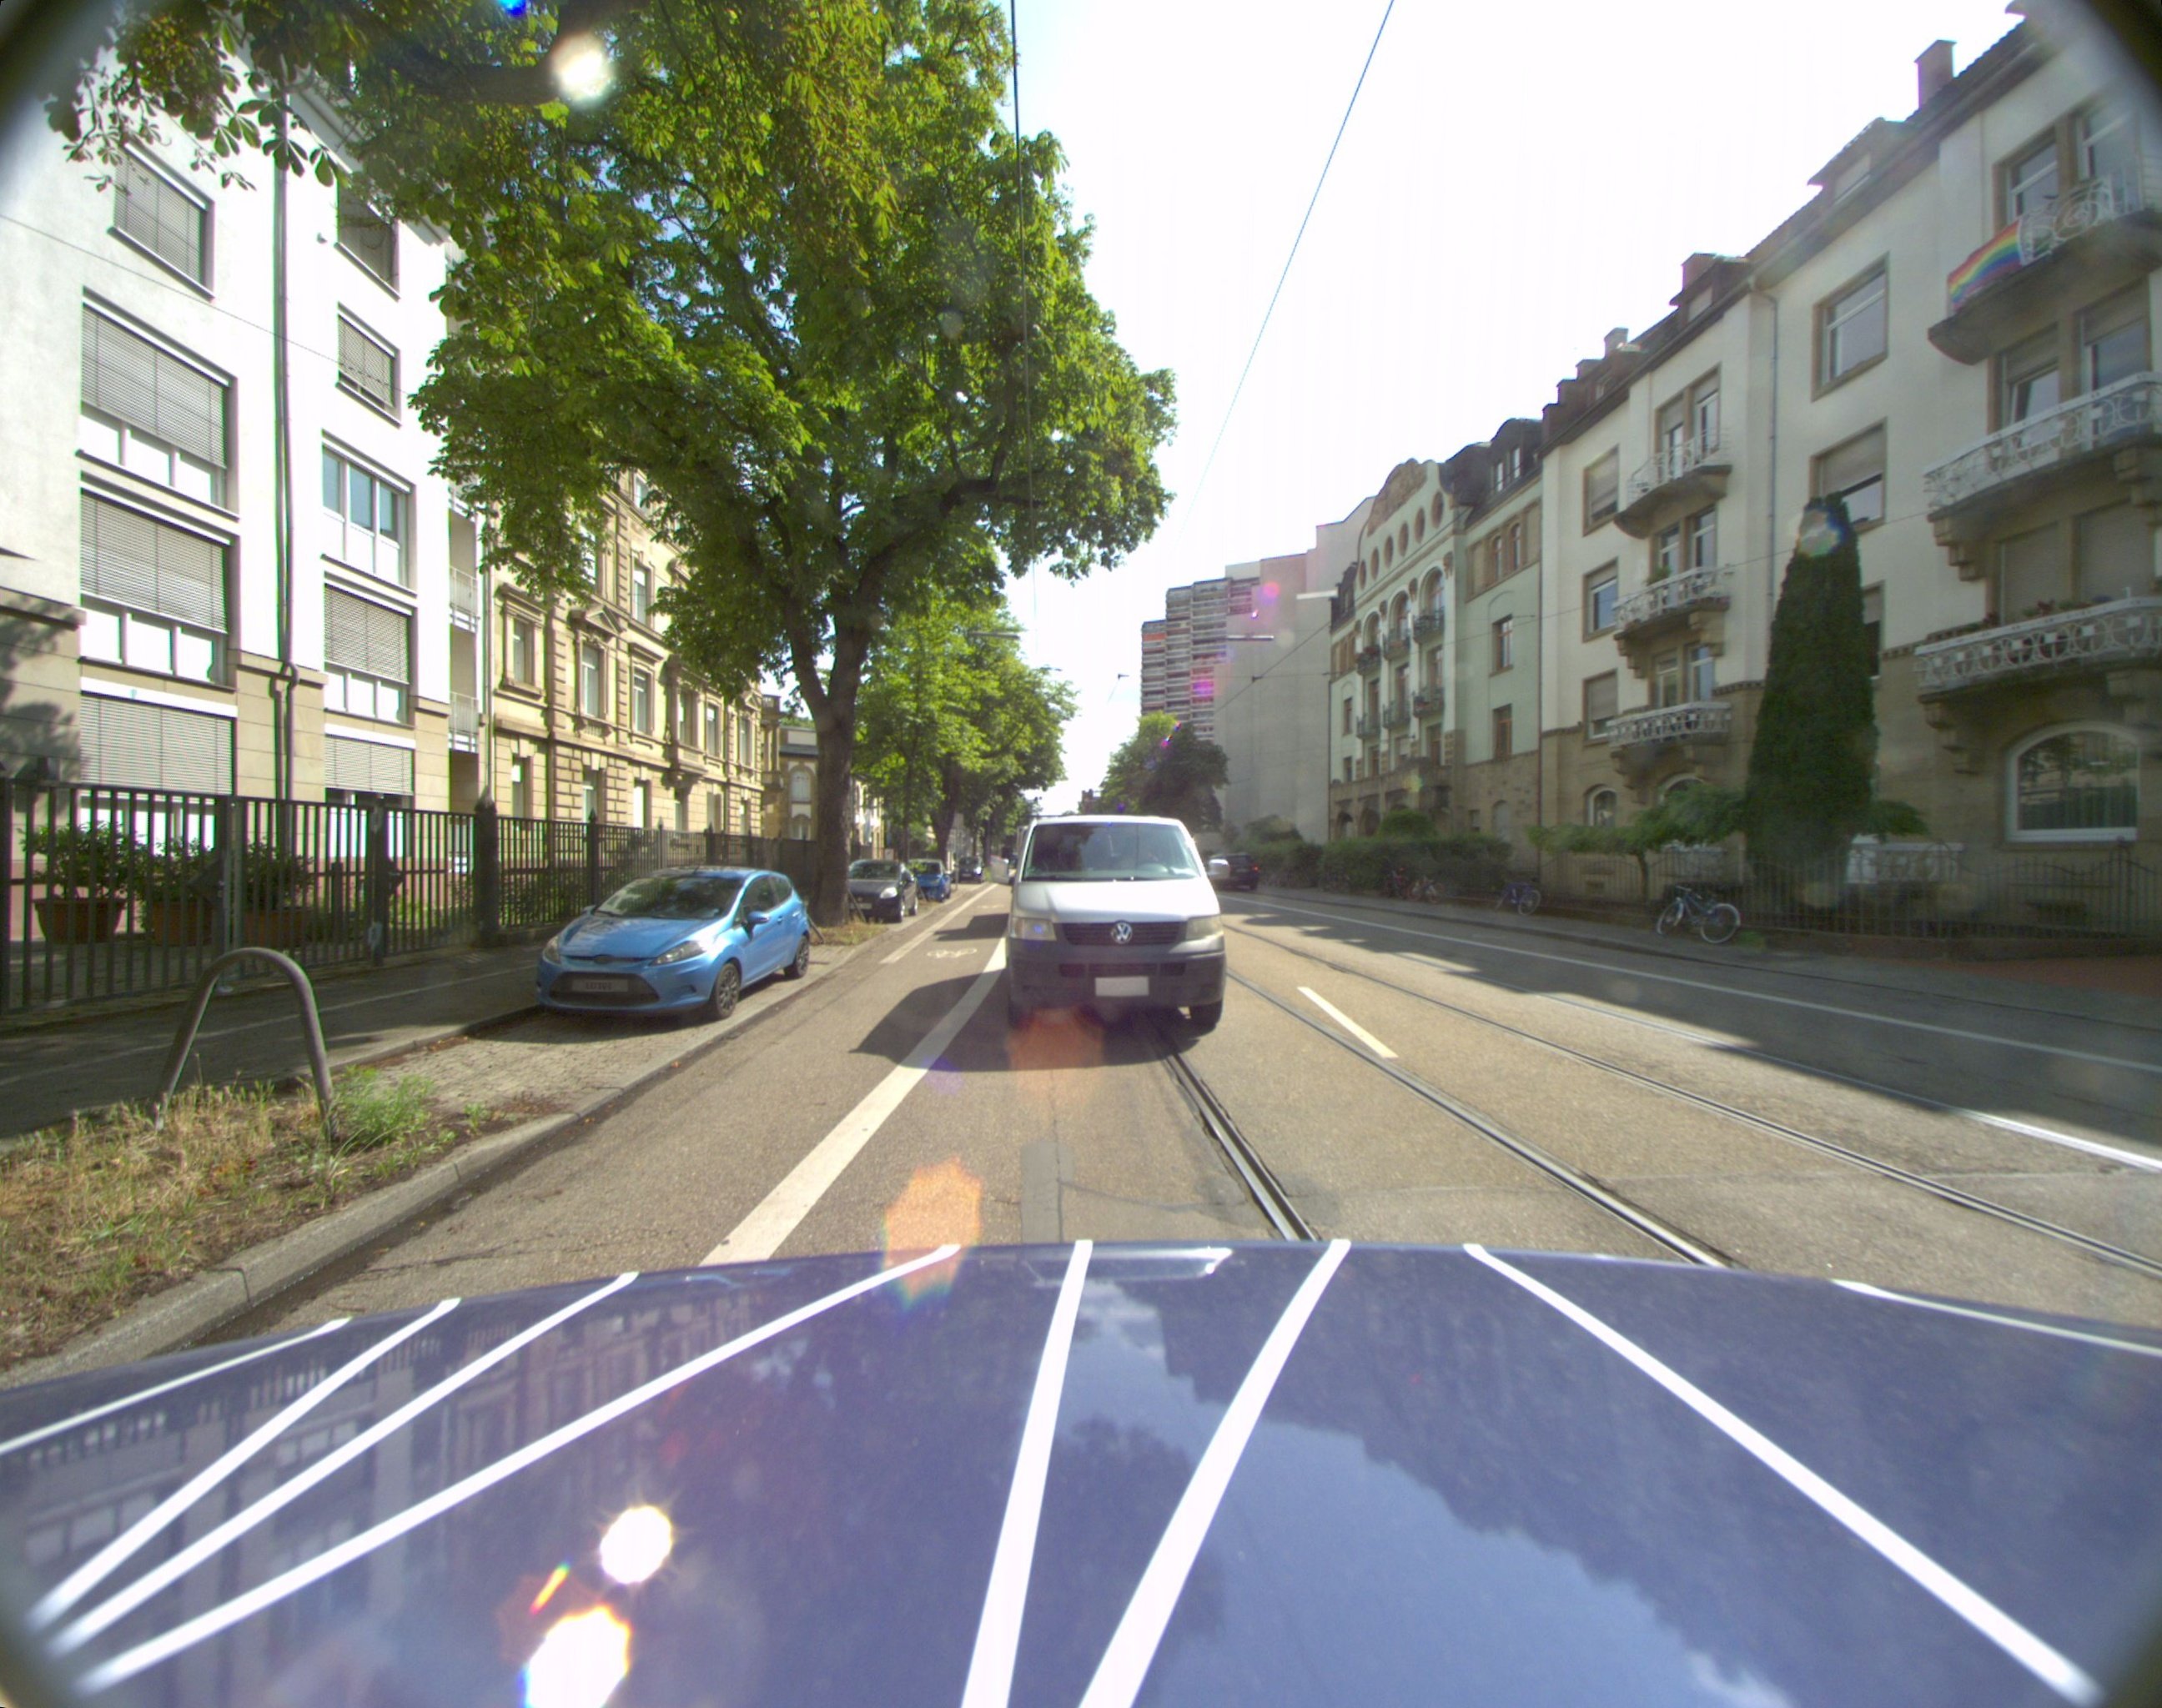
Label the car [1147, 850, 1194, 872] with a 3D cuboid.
[{"bbox_3d":[8.051,0.621,68.285,3.997,1.914,1.831,0,0,-1],"label":"car"}]

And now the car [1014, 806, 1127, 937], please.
[{"bbox_3d":[-0.450,0.331,17.793,2.169,2.572,5.660,0,0,-6],"label":"car"}]

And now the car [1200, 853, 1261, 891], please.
[{"bbox_3d":[7.007,0.787,36.052,1.796,1.701,4.330,0,0,-4],"label":"car"}]

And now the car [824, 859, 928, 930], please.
[{"bbox_3d":[-4.939,0.913,18.761,1.644,1.499,3.622,2,0,-2],"label":"car"}]

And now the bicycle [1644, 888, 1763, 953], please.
[{"bbox_3d":[11.052,1.146,13.591,0.524,0.901,2.067,0,2,4],"label":"bicycle"}]

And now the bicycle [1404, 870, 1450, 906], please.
[{"bbox_3d":[10.560,1.016,23.257,0.587,0.980,1.873,0,1,1],"label":"bicycle"}]

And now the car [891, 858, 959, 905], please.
[{"bbox_3d":[-5.427,0.913,26.874,1.724,1.443,3.925,2,0,-3],"label":"car"}]

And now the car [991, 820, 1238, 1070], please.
[{"bbox_3d":[0.273,0.674,8.124,1.831,1.856,4.845,-1,0,0],"label":"car"}]

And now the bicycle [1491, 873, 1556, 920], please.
[{"bbox_3d":[10.895,1.032,18.770,0.539,1.024,1.873,0,1,1],"label":"bicycle"}]

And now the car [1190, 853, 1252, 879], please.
[{"bbox_3d":[9.024,0.778,49.130,3.631,1.630,1.610,0,1,-3],"label":"car"}]

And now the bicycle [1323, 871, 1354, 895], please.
[{"bbox_3d":[9.946,1.097,29.385,0.587,0.792,1.873,-2,1,1],"label":"bicycle"}]

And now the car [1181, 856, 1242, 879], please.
[{"bbox_3d":[8.908,0.936,52.058,3.890,1.527,1.634,0,0,-1],"label":"car"}]

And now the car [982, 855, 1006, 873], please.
[{"bbox_3d":[-7.804,0.869,68.582,1.774,1.563,4.198,2,0,-3],"label":"car"}]

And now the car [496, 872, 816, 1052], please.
[{"bbox_3d":[-4.346,0.992,8.474,1.642,1.447,3.697,2,0,-4],"label":"car"}]

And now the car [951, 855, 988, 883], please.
[{"bbox_3d":[-6.658,0.876,45.744,1.774,1.522,4.198,2,0,-3],"label":"car"}]
